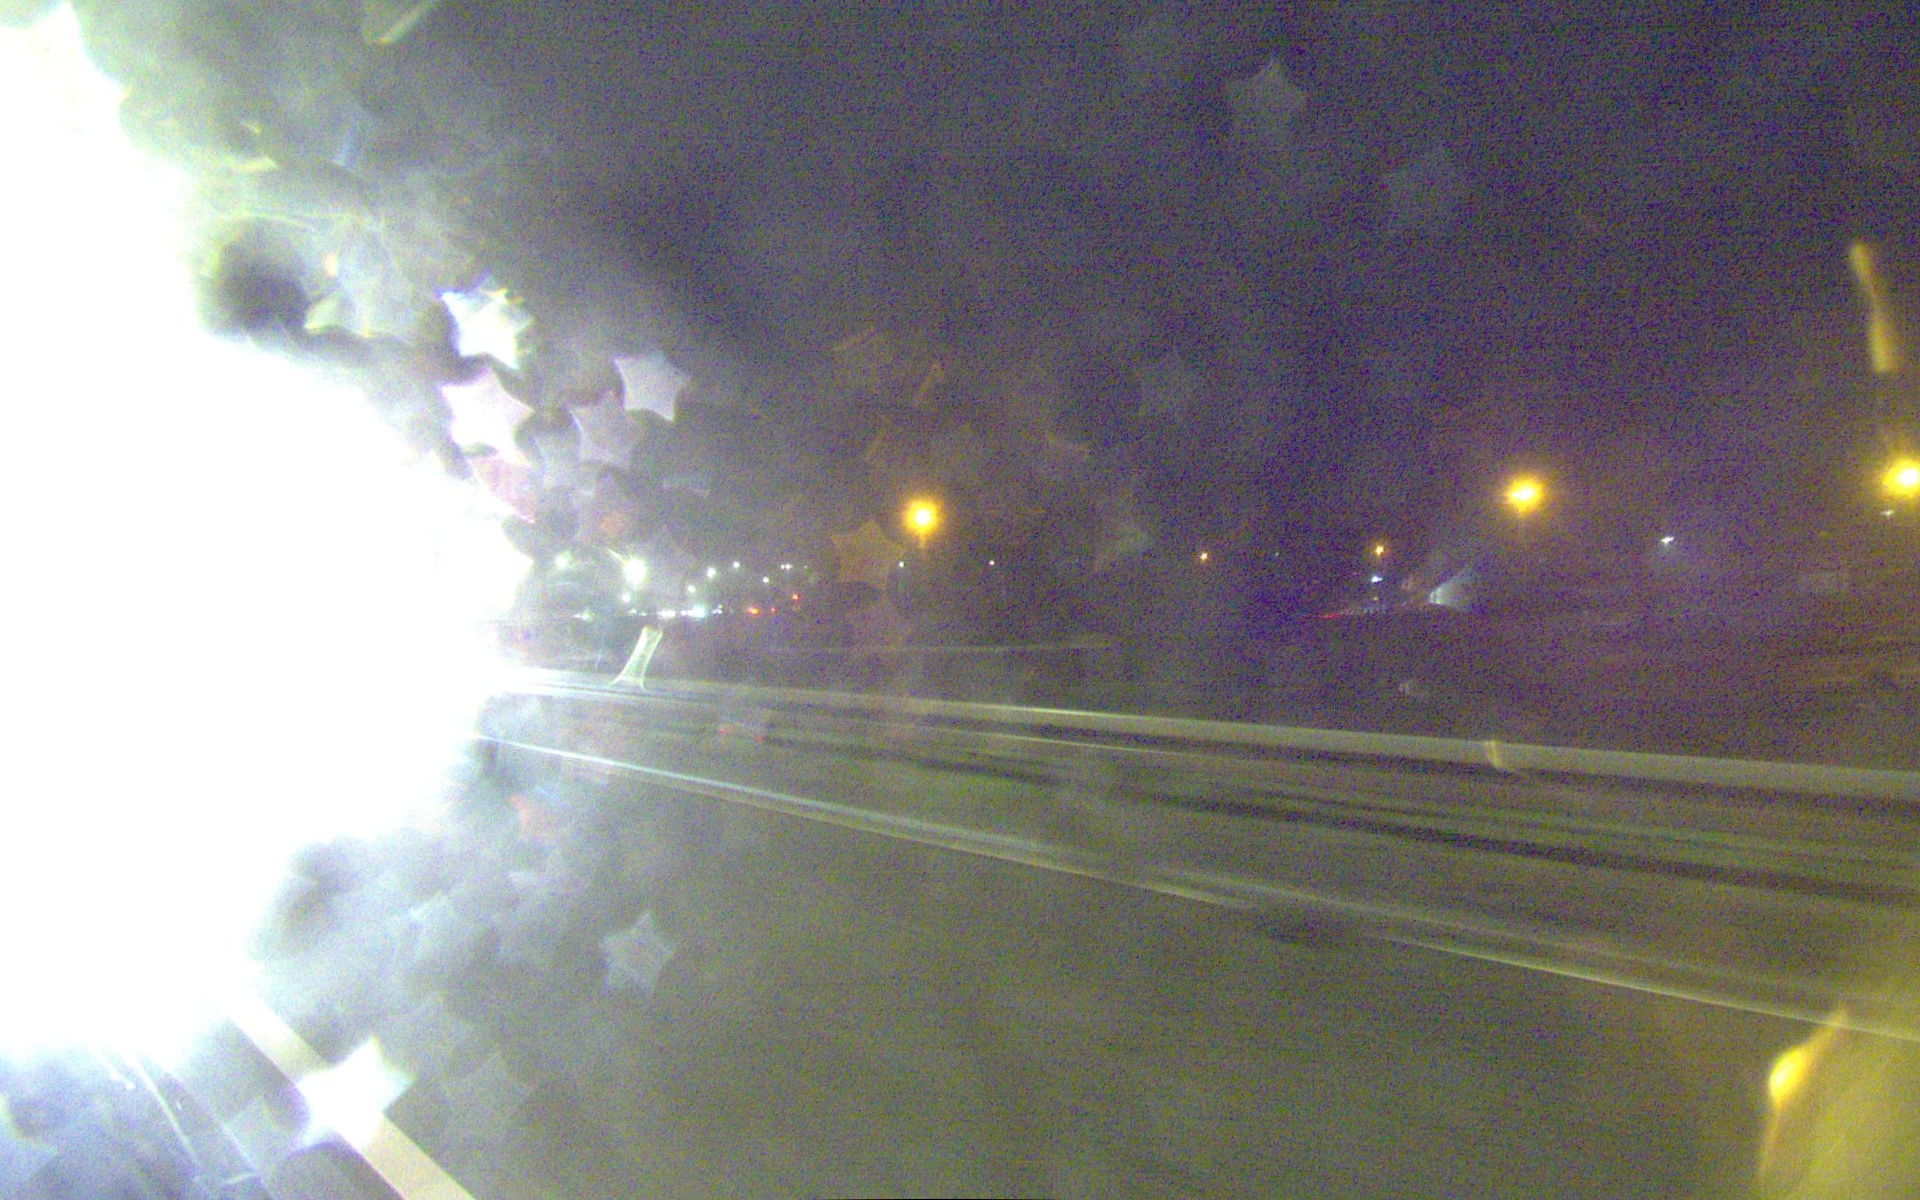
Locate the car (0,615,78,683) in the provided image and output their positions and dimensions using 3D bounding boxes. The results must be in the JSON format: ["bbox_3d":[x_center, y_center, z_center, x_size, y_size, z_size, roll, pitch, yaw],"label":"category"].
[{"bbox_3d":[-28.795,1.492,31.250,1.967,1.949,4.009,-1,-1,-36],"label":"car"}]

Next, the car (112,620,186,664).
[{"bbox_3d":[-38.705,1.989,48.376,1.965,1.949,4.013,-1,-1,-27],"label":"car"}]

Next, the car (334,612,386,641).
[{"bbox_3d":[-45.944,2.049,77.609,2.341,2.107,4.429,-1,-1,-16],"label":"car"}]

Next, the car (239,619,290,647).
[{"bbox_3d":[-39.608,1.877,57.719,1.965,1.495,4.013,-1,-1,-28],"label":"car"}]

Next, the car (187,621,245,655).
[{"bbox_3d":[-44.273,2.231,60.299,1.965,1.949,4.013,-1,-1,-24],"label":"car"}]

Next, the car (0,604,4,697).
[{"bbox_3d":[-19.368,0.992,18.850,1.907,1.887,4.007,-1,-1,-39],"label":"car"}]
